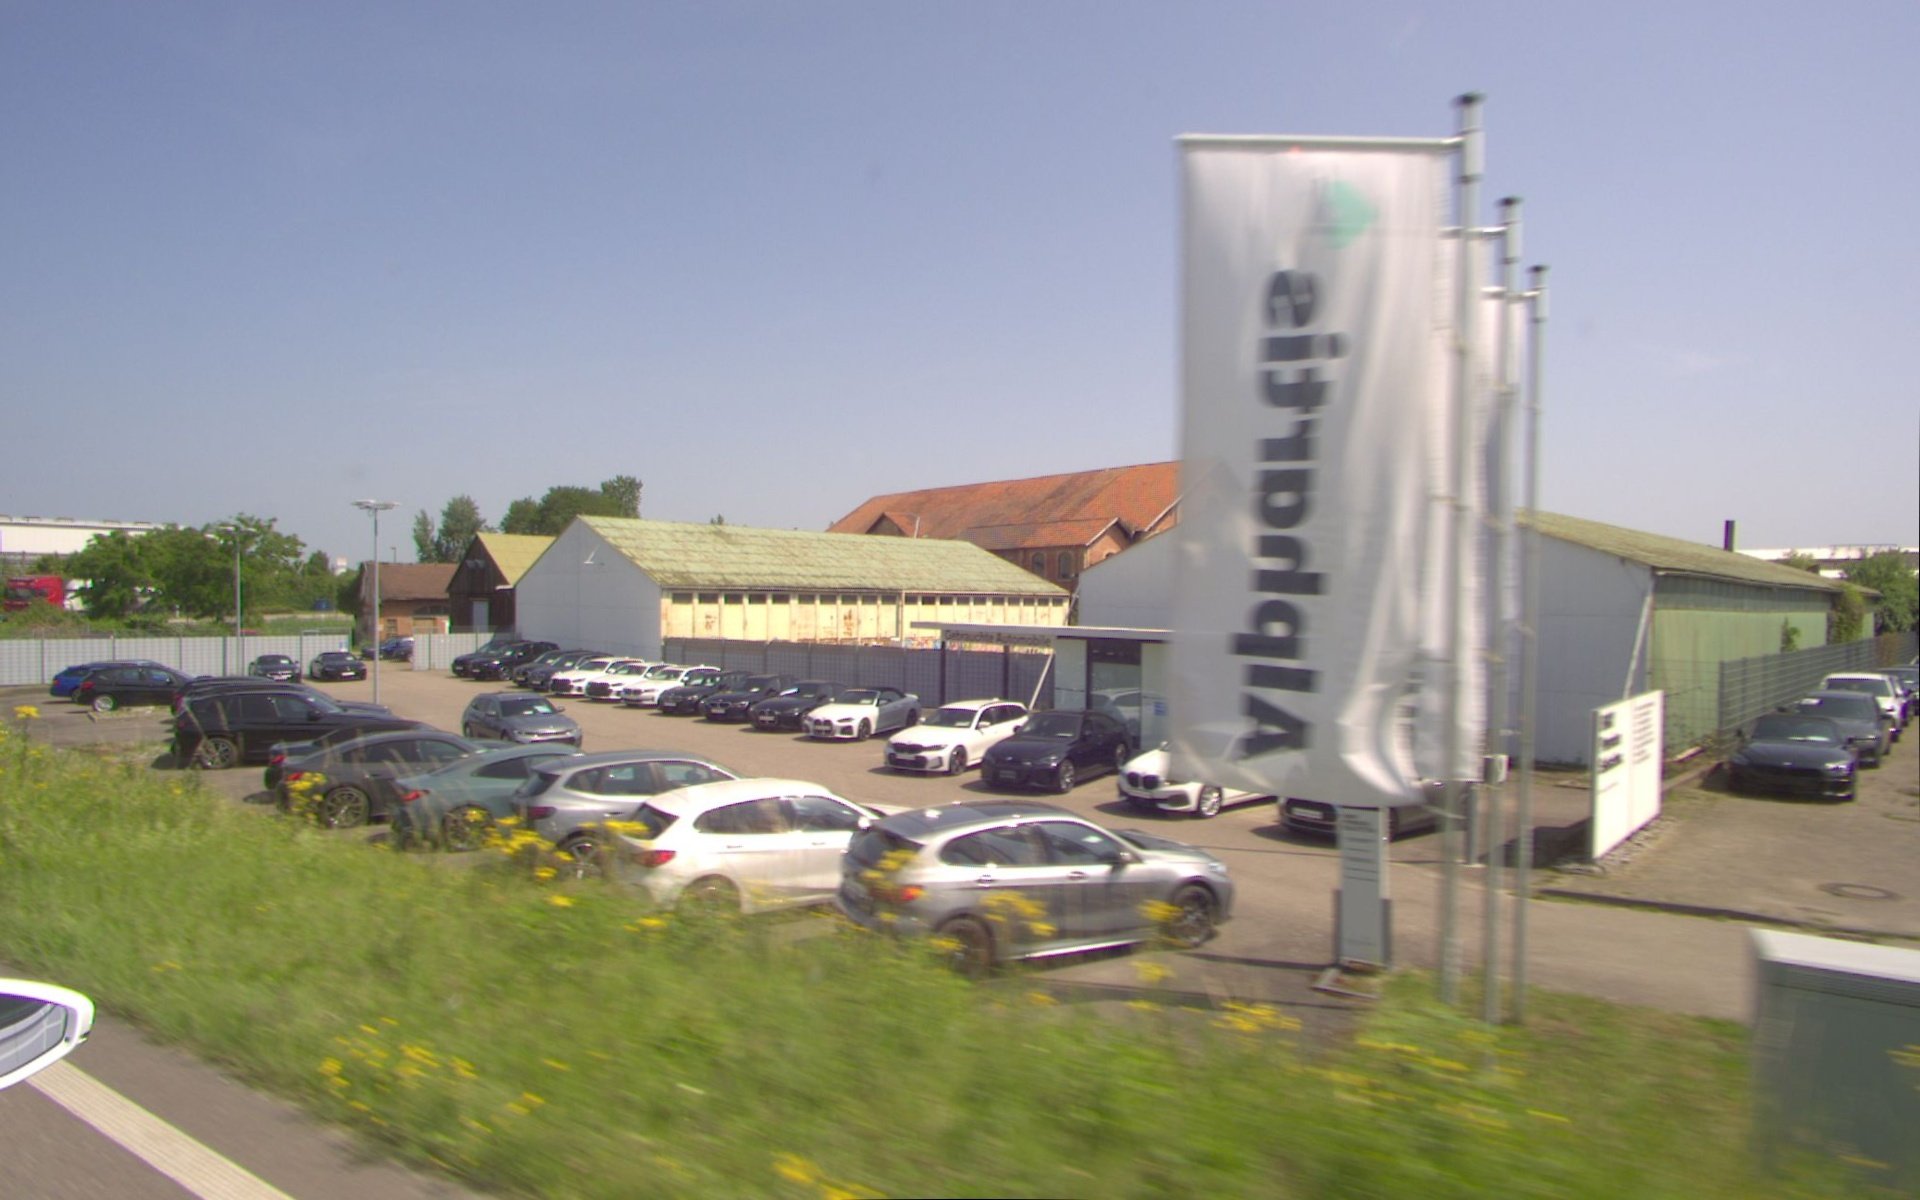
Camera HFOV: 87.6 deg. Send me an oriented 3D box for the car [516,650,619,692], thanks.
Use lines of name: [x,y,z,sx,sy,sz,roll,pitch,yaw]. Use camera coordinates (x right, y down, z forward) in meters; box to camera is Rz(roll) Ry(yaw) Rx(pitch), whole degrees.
car: [-17.582,3.146,45.098,1.878,1.596,4.329,1,-1,21]

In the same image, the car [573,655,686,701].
car: [-13.468,3.141,41.104,1.878,1.543,4.604,1,-1,21]

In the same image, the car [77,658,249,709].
car: [-28.532,2.962,36.065,4.577,1.625,1.847,1,-1,-30]

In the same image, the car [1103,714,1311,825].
car: [4.671,3.059,18.720,3.924,1.542,1.738,1,-2,-38]

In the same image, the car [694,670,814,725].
car: [-6.995,3.283,34.446,1.768,1.542,4.313,-1,-1,26]

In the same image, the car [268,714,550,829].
car: [-9.517,2.912,17.573,4.112,1.542,1.848,2,-2,-29]

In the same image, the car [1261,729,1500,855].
car: [6.893,3.021,16.347,3.751,1.542,1.742,2,-2,-31]

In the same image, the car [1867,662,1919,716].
car: [31.946,2.966,33.760,4.139,1.661,1.721,2,-3,-44]

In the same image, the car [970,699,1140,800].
car: [2.153,3.102,21.558,1.904,1.543,4.418,0,-1,32]

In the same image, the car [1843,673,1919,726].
car: [27.645,2.941,30.008,1.575,1.370,3.665,-1,-3,45]

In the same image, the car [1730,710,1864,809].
car: [15.984,2.933,19.057,1.701,1.393,3.916,-1,-3,44]

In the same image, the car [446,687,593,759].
car: [-11.666,3.154,26.381,2.122,1.476,4.488,2,-3,-44]

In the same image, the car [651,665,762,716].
car: [-9.124,3.237,36.314,1.730,1.542,3.997,-1,-1,26]

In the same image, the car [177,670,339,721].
car: [-22.806,3.094,32.696,3.965,1.461,1.770,1,0,-17]

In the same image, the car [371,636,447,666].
car: [-33.004,3.034,59.992,3.711,1.772,1.659,2,-2,-41]

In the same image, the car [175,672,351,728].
car: [-21.352,3.044,30.883,4.081,1.512,1.826,1,-1,-21]

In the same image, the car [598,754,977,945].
car: [-2.000,2.797,11.916,4.112,1.542,1.743,2,-2,-29]

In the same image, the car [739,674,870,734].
car: [-4.917,3.274,32.266,1.901,1.542,4.604,-1,-1,26]

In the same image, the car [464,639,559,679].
car: [-22.595,2.945,50.641,1.878,1.828,4.329,1,-1,21]

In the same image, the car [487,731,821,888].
car: [-4.188,2.752,13.851,4.113,1.542,1.847,2,-2,-30]

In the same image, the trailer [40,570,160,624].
trailer: [-71.817,-0.137,83.946,2.832,4.081,8.700,0,-2,-3]

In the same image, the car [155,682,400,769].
car: [-16.109,2.929,23.956,4.570,1.723,1.849,1,0,-25]

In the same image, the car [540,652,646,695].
car: [-15.647,3.098,42.959,1.878,1.543,4.329,1,-1,21]

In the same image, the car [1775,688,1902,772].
car: [19.854,2.830,22.558,1.963,1.489,4.420,-1,-3,44]

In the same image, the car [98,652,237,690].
car: [-34.127,3.058,43.265,4.295,1.522,1.840,1,0,-15]

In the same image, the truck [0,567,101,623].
truck: [-71.254,-0.289,78.630,2.838,4.081,6.717,1,-2,-12]

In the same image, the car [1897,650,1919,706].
car: [36.591,2.899,37.513,3.962,2.039,1.981,2,-2,-44]

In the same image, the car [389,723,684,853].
car: [-6.689,2.879,15.950,4.112,1.542,1.848,2,-2,-29]

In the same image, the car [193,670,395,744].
car: [-17.752,2.815,26.925,4.165,1.723,1.913,1,0,-21]

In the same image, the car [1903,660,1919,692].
car: [44.038,3.443,45.550,1.575,1.370,3.665,-1,-3,45]

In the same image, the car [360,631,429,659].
car: [-36.770,2.928,65.128,3.707,1.772,1.661,2,-2,-39]

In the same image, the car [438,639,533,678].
car: [-24.847,3.029,52.610,1.964,1.828,4.329,1,-1,21]

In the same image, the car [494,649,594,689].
car: [-19.476,3.193,47.074,1.878,1.596,4.329,1,-1,21]

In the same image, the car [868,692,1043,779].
car: [-0.004,3.132,23.880,1.908,1.542,4.411,-1,-1,37]

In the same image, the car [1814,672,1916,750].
car: [24.213,2.884,26.741,1.902,1.752,4.279,-1,-3,44]

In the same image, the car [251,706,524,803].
car: [-11.377,3.033,20.273,4.573,1.542,1.849,1,-2,-27]

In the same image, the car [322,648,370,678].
car: [-31.181,3.171,50.809,1.973,1.416,3.977,1,-2,-32]

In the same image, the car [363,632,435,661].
car: [-35.031,2.877,62.554,3.707,1.772,1.661,2,-2,-39]

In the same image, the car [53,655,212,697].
car: [-32.984,3.005,40.093,4.573,1.518,1.848,1,0,-27]

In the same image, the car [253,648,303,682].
car: [-33.263,3.132,48.911,1.831,1.554,4.617,1,-2,-32]

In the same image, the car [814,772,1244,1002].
car: [0.733,2.753,10.264,4.107,1.542,1.684,1,-2,-25]

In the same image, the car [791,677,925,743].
car: [-2.955,3.233,30.196,1.901,1.542,4.604,-1,-1,26]

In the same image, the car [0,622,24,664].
car: [-48.570,2.165,50.477,1.981,2.039,3.961,2,-2,-44]

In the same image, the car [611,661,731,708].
car: [-11.190,3.234,39.131,1.881,1.542,4.646,-1,-1,26]
